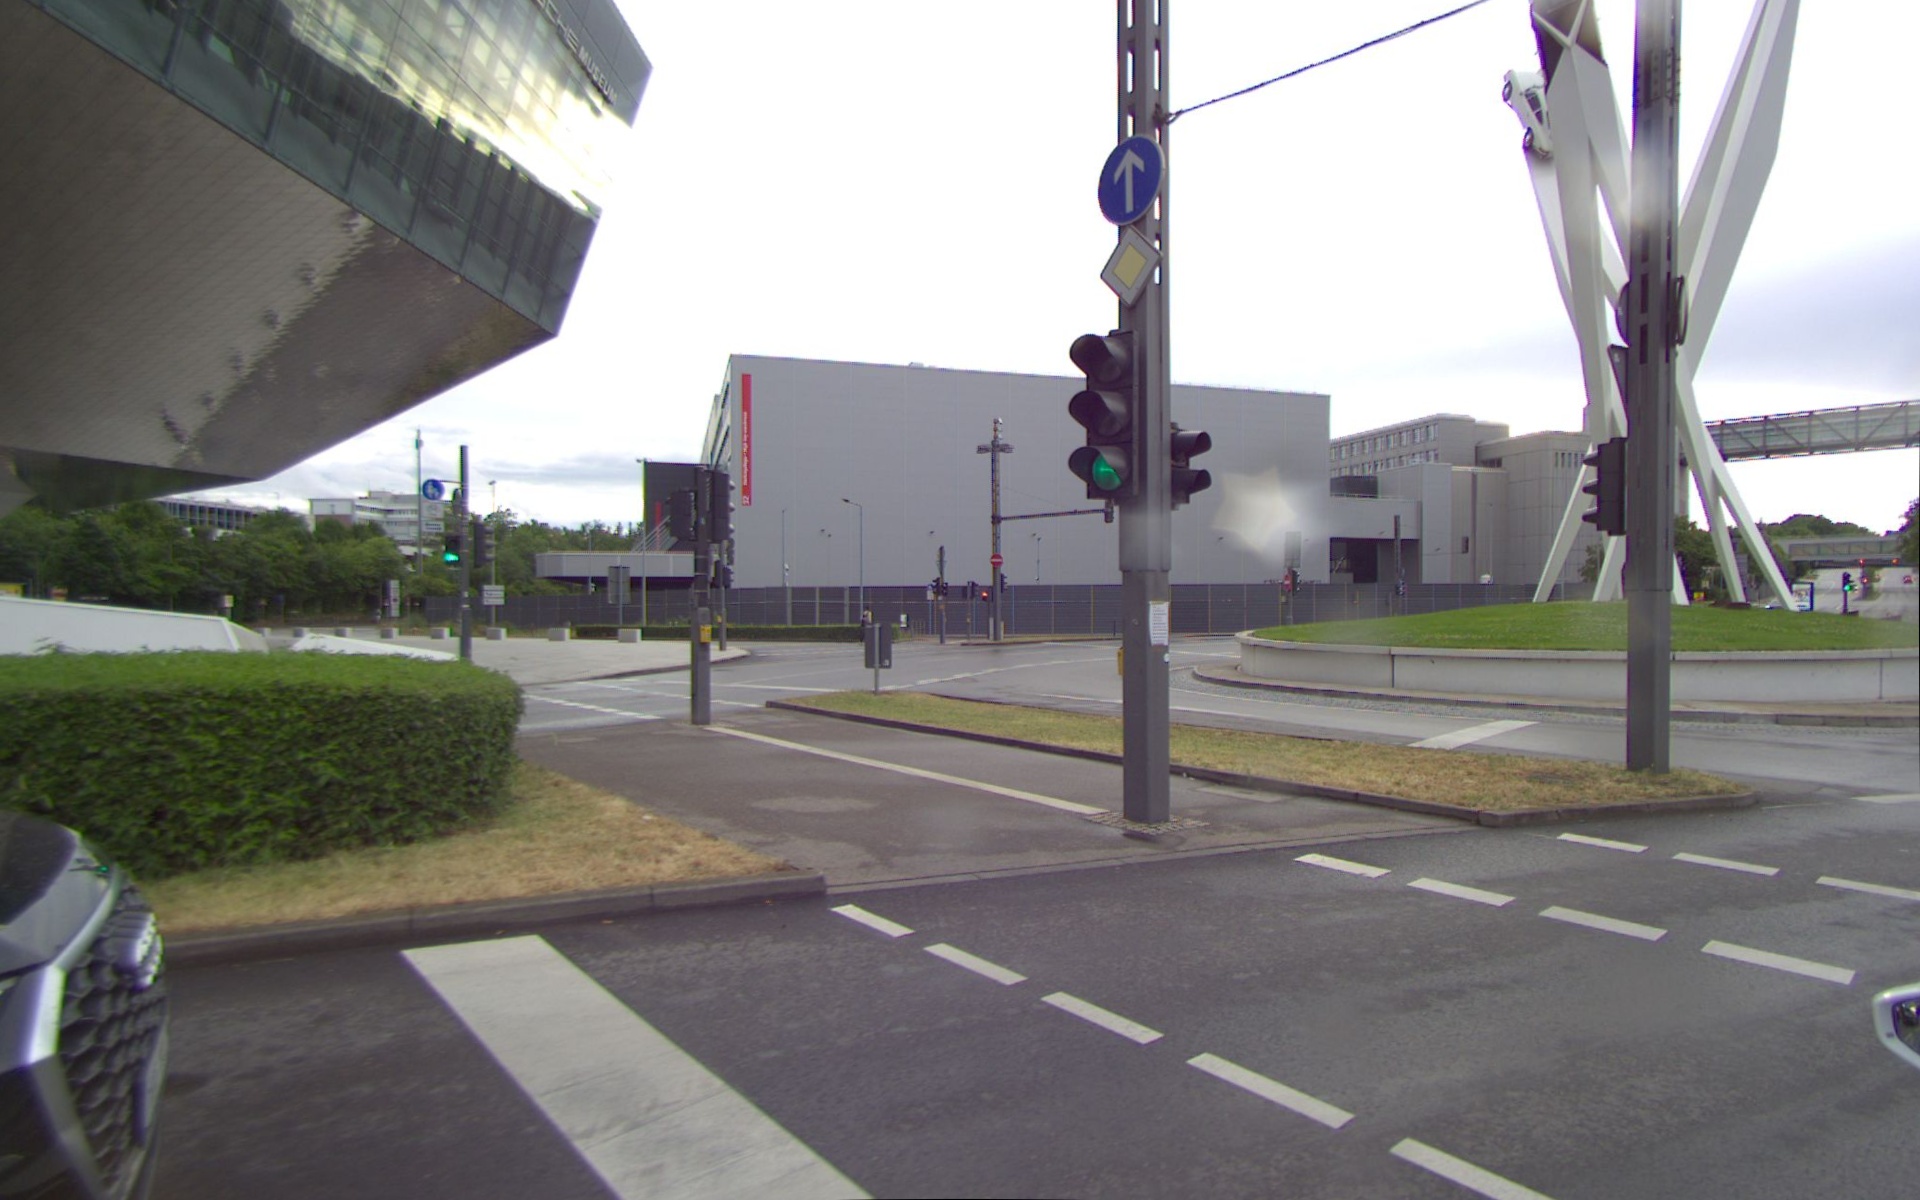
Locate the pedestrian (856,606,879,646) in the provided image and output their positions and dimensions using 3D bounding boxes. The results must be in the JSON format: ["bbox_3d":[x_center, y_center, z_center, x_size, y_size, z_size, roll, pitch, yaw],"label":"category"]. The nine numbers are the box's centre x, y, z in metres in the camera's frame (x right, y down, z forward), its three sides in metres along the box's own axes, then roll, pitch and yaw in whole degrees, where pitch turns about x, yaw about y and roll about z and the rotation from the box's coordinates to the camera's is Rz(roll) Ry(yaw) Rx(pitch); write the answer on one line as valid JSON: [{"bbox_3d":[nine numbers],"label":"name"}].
[{"bbox_3d":[-4.241,1.192,46.030,0.637,1.827,0.852,1,0,32],"label":"pedestrian"}]

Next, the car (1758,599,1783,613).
[{"bbox_3d":[86.029,0.650,106.659,1.763,1.459,4.370,0,1,43],"label":"car"}]

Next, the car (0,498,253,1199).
[{"bbox_3d":[-3.251,0.558,0.748,4.350,1.538,1.741,3,0,-34],"label":"car"}]
